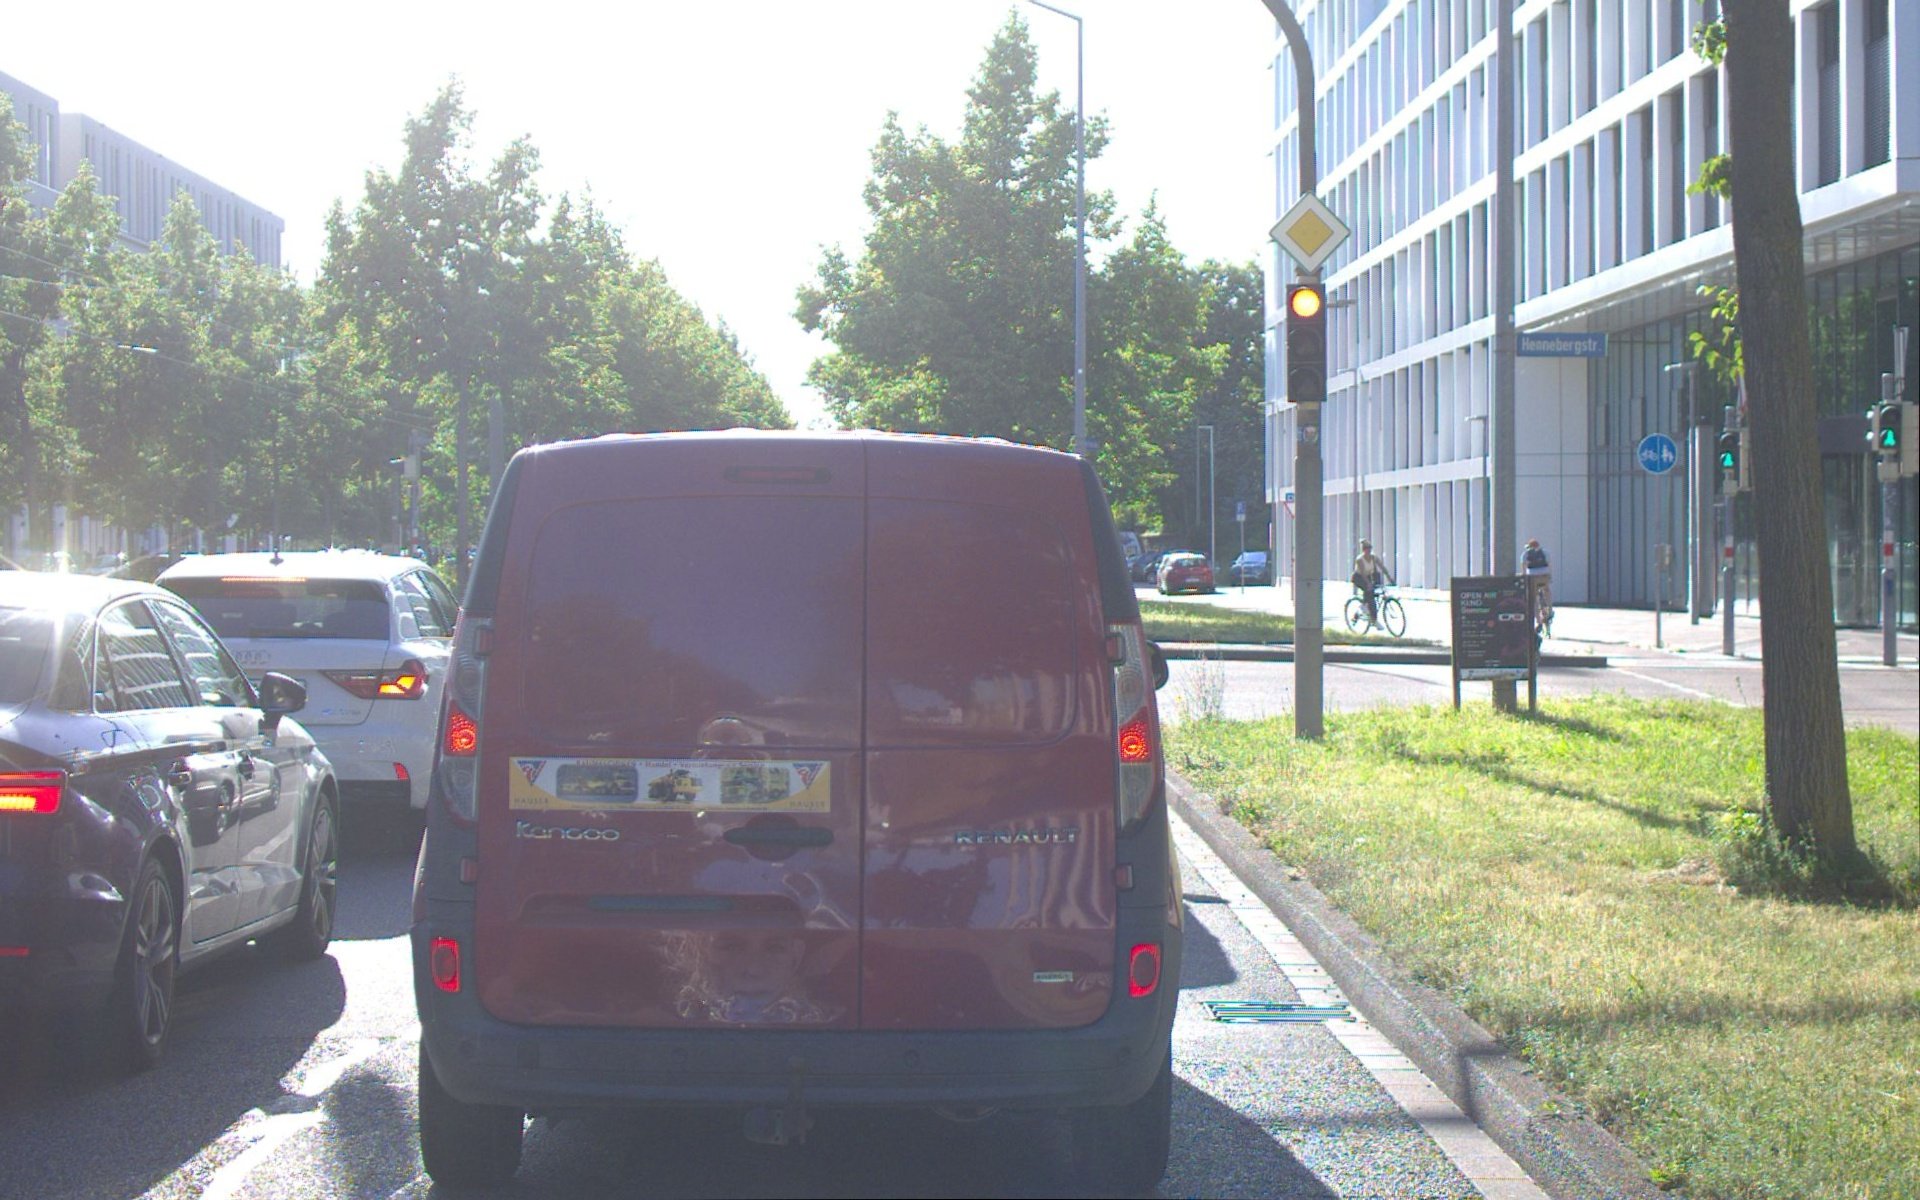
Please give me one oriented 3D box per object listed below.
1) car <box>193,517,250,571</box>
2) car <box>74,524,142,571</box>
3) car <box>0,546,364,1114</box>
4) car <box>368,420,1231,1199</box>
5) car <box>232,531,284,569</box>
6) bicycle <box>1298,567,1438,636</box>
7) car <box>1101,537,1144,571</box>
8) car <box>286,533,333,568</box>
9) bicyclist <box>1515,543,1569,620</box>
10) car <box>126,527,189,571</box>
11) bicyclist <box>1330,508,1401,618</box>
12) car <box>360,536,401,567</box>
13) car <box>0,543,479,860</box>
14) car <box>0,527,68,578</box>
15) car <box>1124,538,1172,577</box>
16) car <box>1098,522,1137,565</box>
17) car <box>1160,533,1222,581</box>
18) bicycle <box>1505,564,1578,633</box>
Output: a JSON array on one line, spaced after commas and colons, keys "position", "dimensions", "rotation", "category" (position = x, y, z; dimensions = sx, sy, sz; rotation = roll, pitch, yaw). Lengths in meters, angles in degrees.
[{"position": [-36.138, -2.758, 168.355], "dimensions": [1.993, 2.598, 4.000], "rotation": [0, 1, -1], "category": "car"}, {"position": [-36.982, -2.272, 149.327], "dimensions": [1.993, 2.007, 4.000], "rotation": [0, 1, -1], "category": "car"}, {"position": [-3.160, 0.550, 10.887], "dimensions": [1.842, 1.421, 4.339], "rotation": [0, 1, -1], "category": "car"}, {"position": [-0.369, 0.467, 9.358], "dimensions": [1.842, 1.774, 4.000], "rotation": [0, 1, -1], "category": "car"}, {"position": [-37.232, -2.668, 182.414], "dimensions": [1.993, 2.007, 4.000], "rotation": [0, 1, -1], "category": "car"}, {"position": [7.241, 0.010, 61.243], "dimensions": [0.815, 1.186, 2.952], "rotation": [-1, 1, -32], "category": "bicycle"}, {"position": [8.481, -2.430, 179.822], "dimensions": [1.993, 1.776, 4.000], "rotation": [0, 1, -1], "category": "car"}, {"position": [-37.683, -2.881, 199.228], "dimensions": [1.993, 2.007, 4.000], "rotation": [0, 1, -1], "category": "car"}, {"position": [9.768, -0.314, 57.733], "dimensions": [0.818, 1.270, 0.683], "rotation": [0, 1, 2], "category": "bicyclist"}, {"position": [-36.970, -2.378, 158.428], "dimensions": [1.993, 2.007, 4.000], "rotation": [0, 1, -1], "category": "car"}, {"position": [7.225, -0.670, 61.248], "dimensions": [0.815, 1.940, 1.002], "rotation": [-1, 1, -32], "category": "bicyclist"}, {"position": [-37.554, -3.152, 222.870], "dimensions": [1.993, 2.007, 4.000], "rotation": [0, 1, -1], "category": "car"}, {"position": [-3.607, 0.429, 17.531], "dimensions": [1.803, 1.421, 3.901], "rotation": [0, 1, -1], "category": "car"}, {"position": [-36.901, -1.900, 136.501], "dimensions": [1.993, 2.007, 4.000], "rotation": [0, 1, -1], "category": "car"}, {"position": [8.781, -1.997, 160.625], "dimensions": [1.993, 1.776, 4.000], "rotation": [0, 1, -1], "category": "car"}, {"position": [9.066, -3.263, 198.332], "dimensions": [1.993, 2.488, 4.987], "rotation": [0, 1, -1], "category": "car"}, {"position": [8.576, -1.623, 127.950], "dimensions": [1.993, 1.776, 4.000], "rotation": [0, 1, -1], "category": "car"}, {"position": [9.755, -0.043, 57.768], "dimensions": [0.818, 1.111, 2.846], "rotation": [0, 1, 1], "category": "bicycle"}]
